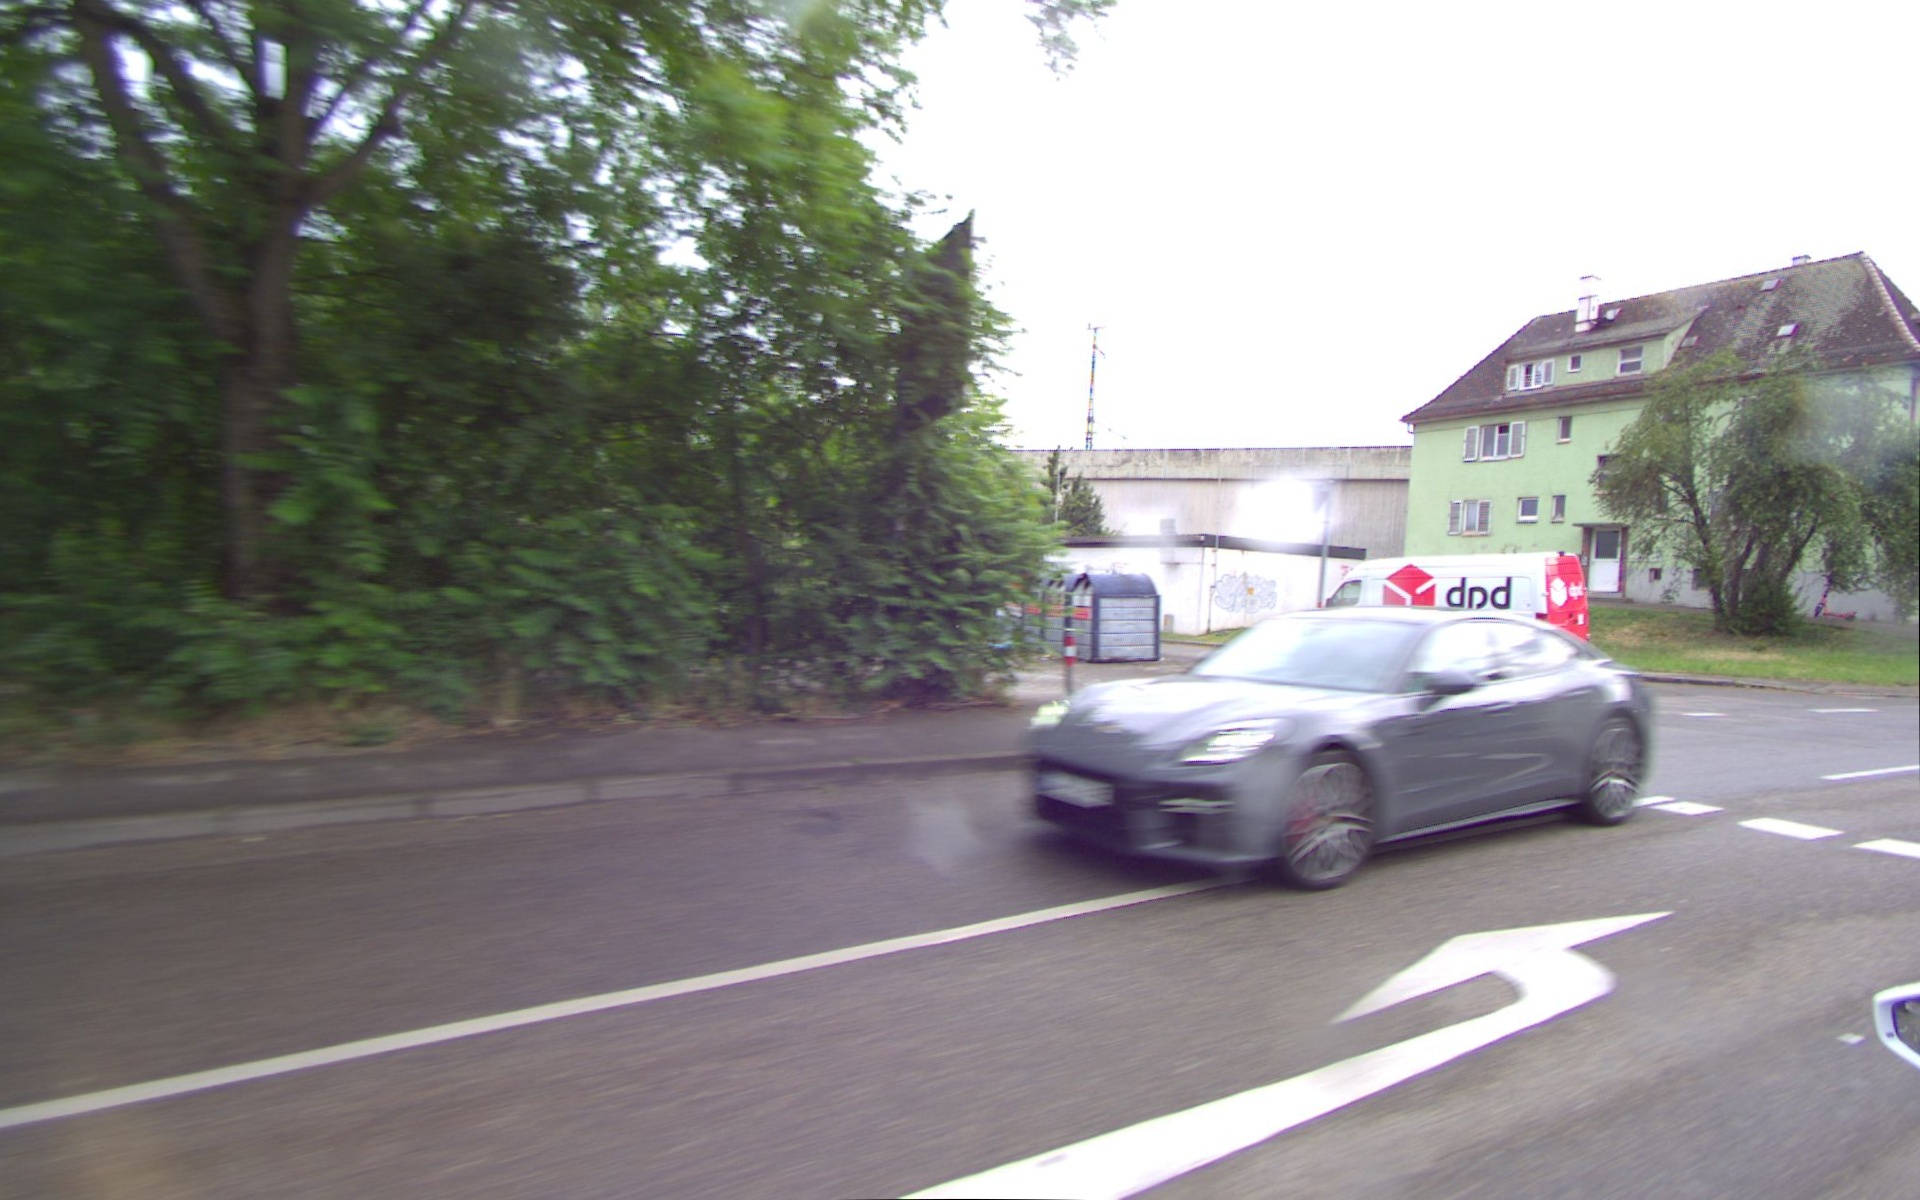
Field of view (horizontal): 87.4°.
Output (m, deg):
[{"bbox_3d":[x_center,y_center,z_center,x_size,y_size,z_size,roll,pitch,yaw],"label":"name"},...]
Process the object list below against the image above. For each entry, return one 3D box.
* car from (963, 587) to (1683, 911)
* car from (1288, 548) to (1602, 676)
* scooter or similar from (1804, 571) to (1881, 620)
[{"bbox_3d":[2.537,0.692,6.629,4.721,1.462,1.983,1,0,-32],"label":"car"},{"bbox_3d":[11.582,0.163,24.716,2.238,2.691,6.764,1,1,-32],"label":"car"},{"bbox_3d":[25.584,-0.149,29.160,0.522,1.291,1.519,2,5,-17],"label":"scooter or similar"}]
